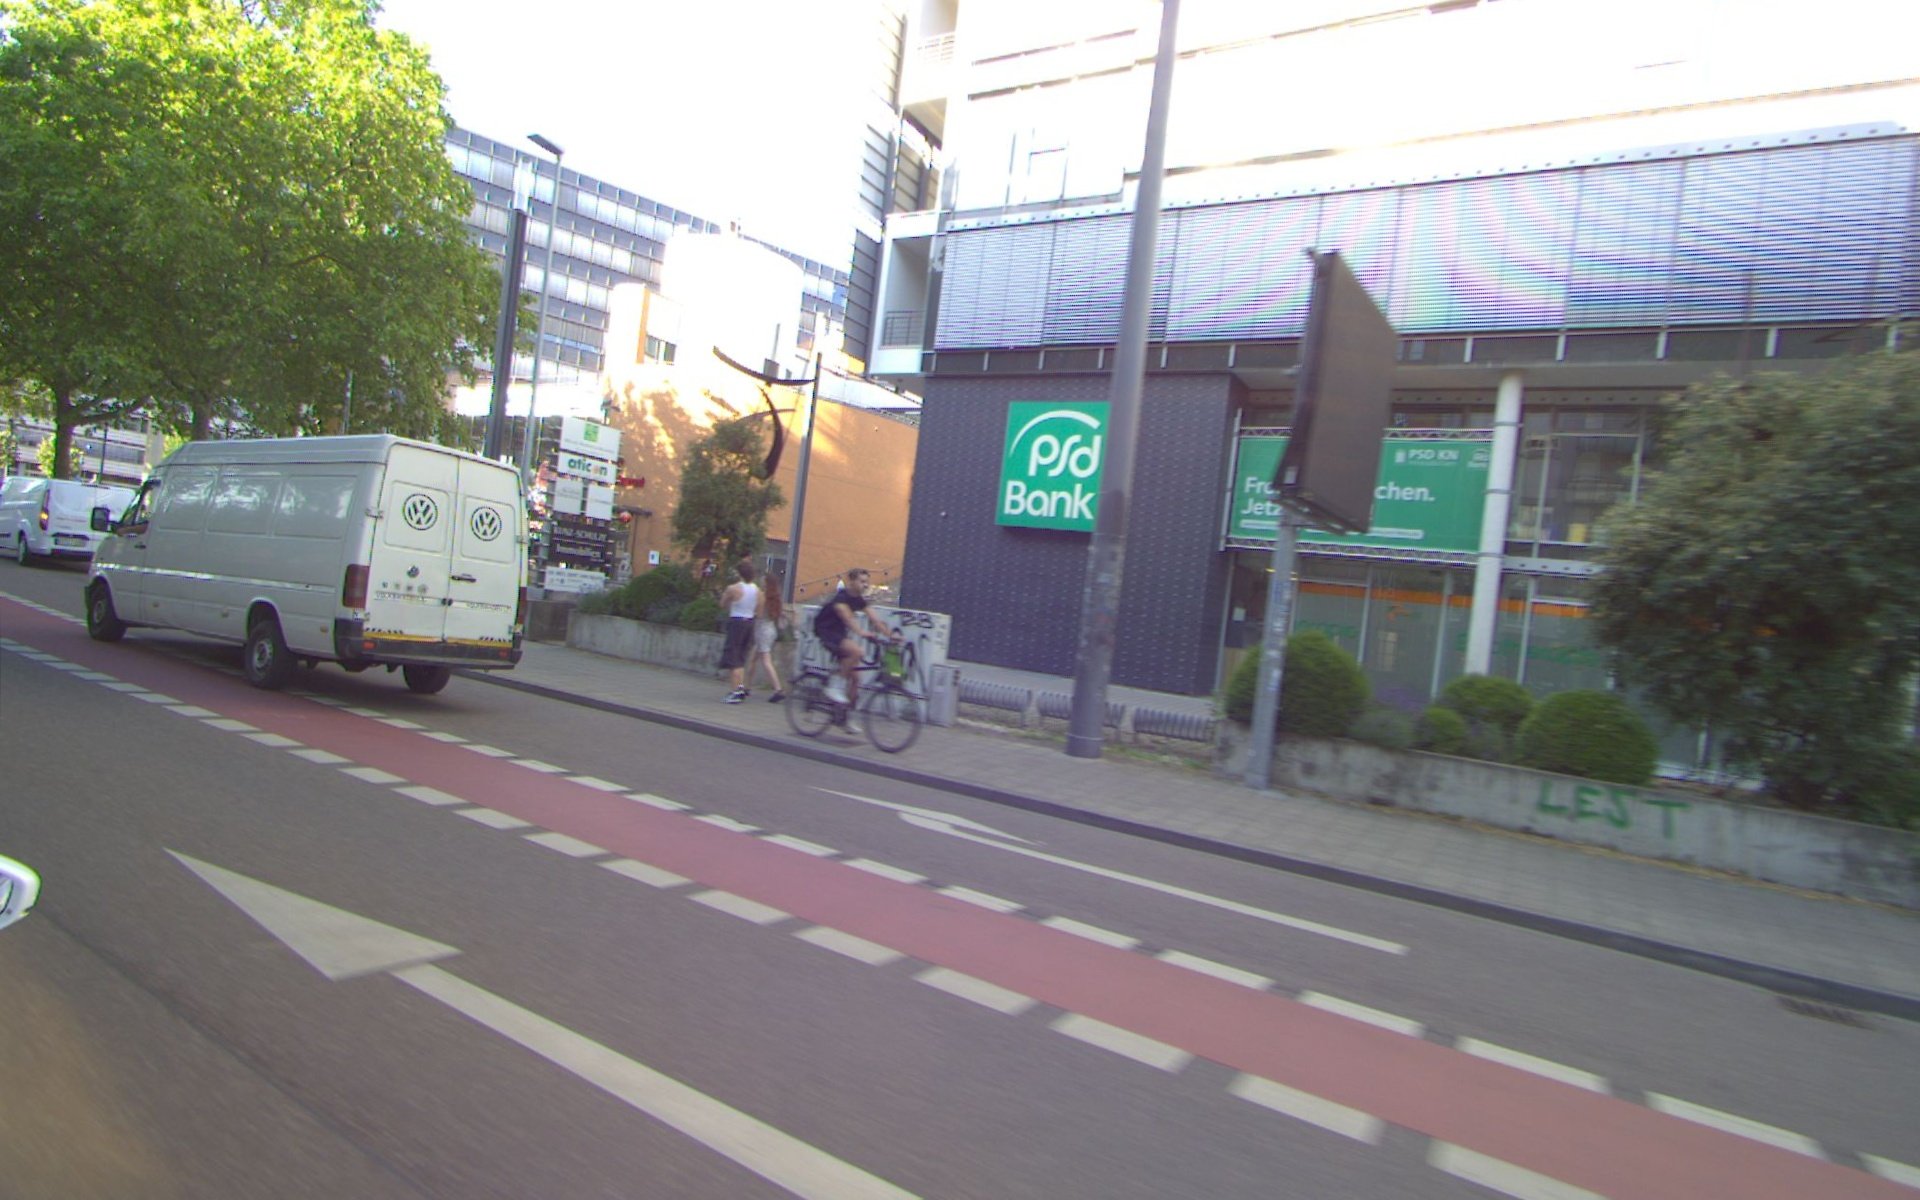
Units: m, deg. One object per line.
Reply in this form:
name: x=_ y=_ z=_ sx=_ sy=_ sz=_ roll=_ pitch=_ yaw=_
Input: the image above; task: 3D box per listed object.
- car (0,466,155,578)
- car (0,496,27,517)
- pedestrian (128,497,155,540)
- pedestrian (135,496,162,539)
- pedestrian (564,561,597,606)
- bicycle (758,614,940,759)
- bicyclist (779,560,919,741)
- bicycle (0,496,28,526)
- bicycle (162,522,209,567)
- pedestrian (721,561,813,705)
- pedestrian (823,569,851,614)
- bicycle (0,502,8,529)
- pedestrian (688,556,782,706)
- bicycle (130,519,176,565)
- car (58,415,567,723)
car: x=-21.540 y=-1.915 z=23.984 sx=5.205 sy=2.160 sz=2.124 roll=7 pitch=0 yaw=34
car: x=-85.067 y=-8.418 z=88.322 sx=1.767 sy=1.579 sz=4.243 roll=7 pitch=0 yaw=34
pedestrian: x=-38.492 y=-3.832 z=47.310 sx=0.708 sy=1.911 sz=0.637 roll=7 pitch=1 yaw=31
pedestrian: x=-37.835 y=-3.843 z=46.899 sx=0.708 sy=1.911 sz=0.637 roll=7 pitch=1 yaw=31
pedestrian: x=-13.319 y=-0.587 z=35.321 sx=0.591 sy=1.474 sz=0.712 roll=7 pitch=1 yaw=31
bicycle: x=-1.241 y=0.897 z=11.029 sx=1.896 sy=1.293 sz=0.663 roll=7 pitch=3 yaw=32
bicyclist: x=-1.216 y=0.521 z=11.008 sx=1.189 sy=1.787 sz=0.741 roll=7 pitch=4 yaw=32
bicycle: x=-41.232 y=-3.873 z=43.718 sx=1.626 sy=1.151 sz=0.503 roll=7 pitch=1 yaw=28
bicycle: x=-23.425 y=-1.688 z=30.409 sx=2.368 sy=1.151 sz=0.661 roll=7 pitch=0 yaw=43
pedestrian: x=-2.623 y=0.441 z=13.646 sx=0.881 sy=1.831 sz=0.590 roll=7 pitch=1 yaw=32
pedestrian: x=-4.856 y=-0.327 z=39.712 sx=0.711 sy=1.697 sz=0.539 roll=7 pitch=1 yaw=31
bicycle: x=-37.036 y=-3.292 z=38.469 sx=1.733 sy=0.993 sz=0.451 roll=7 pitch=1 yaw=32
pedestrian: x=-2.932 y=0.403 z=13.104 sx=0.876 sy=1.831 sz=0.563 roll=7 pitch=1 yaw=32
bicycle: x=-23.880 y=-1.726 z=29.751 sx=2.368 sy=1.151 sz=0.661 roll=7 pitch=0 yaw=43
car: x=-7.666 y=-0.484 z=11.617 sx=6.451 sy=2.756 sz=1.998 roll=7 pitch=-1 yaw=30
